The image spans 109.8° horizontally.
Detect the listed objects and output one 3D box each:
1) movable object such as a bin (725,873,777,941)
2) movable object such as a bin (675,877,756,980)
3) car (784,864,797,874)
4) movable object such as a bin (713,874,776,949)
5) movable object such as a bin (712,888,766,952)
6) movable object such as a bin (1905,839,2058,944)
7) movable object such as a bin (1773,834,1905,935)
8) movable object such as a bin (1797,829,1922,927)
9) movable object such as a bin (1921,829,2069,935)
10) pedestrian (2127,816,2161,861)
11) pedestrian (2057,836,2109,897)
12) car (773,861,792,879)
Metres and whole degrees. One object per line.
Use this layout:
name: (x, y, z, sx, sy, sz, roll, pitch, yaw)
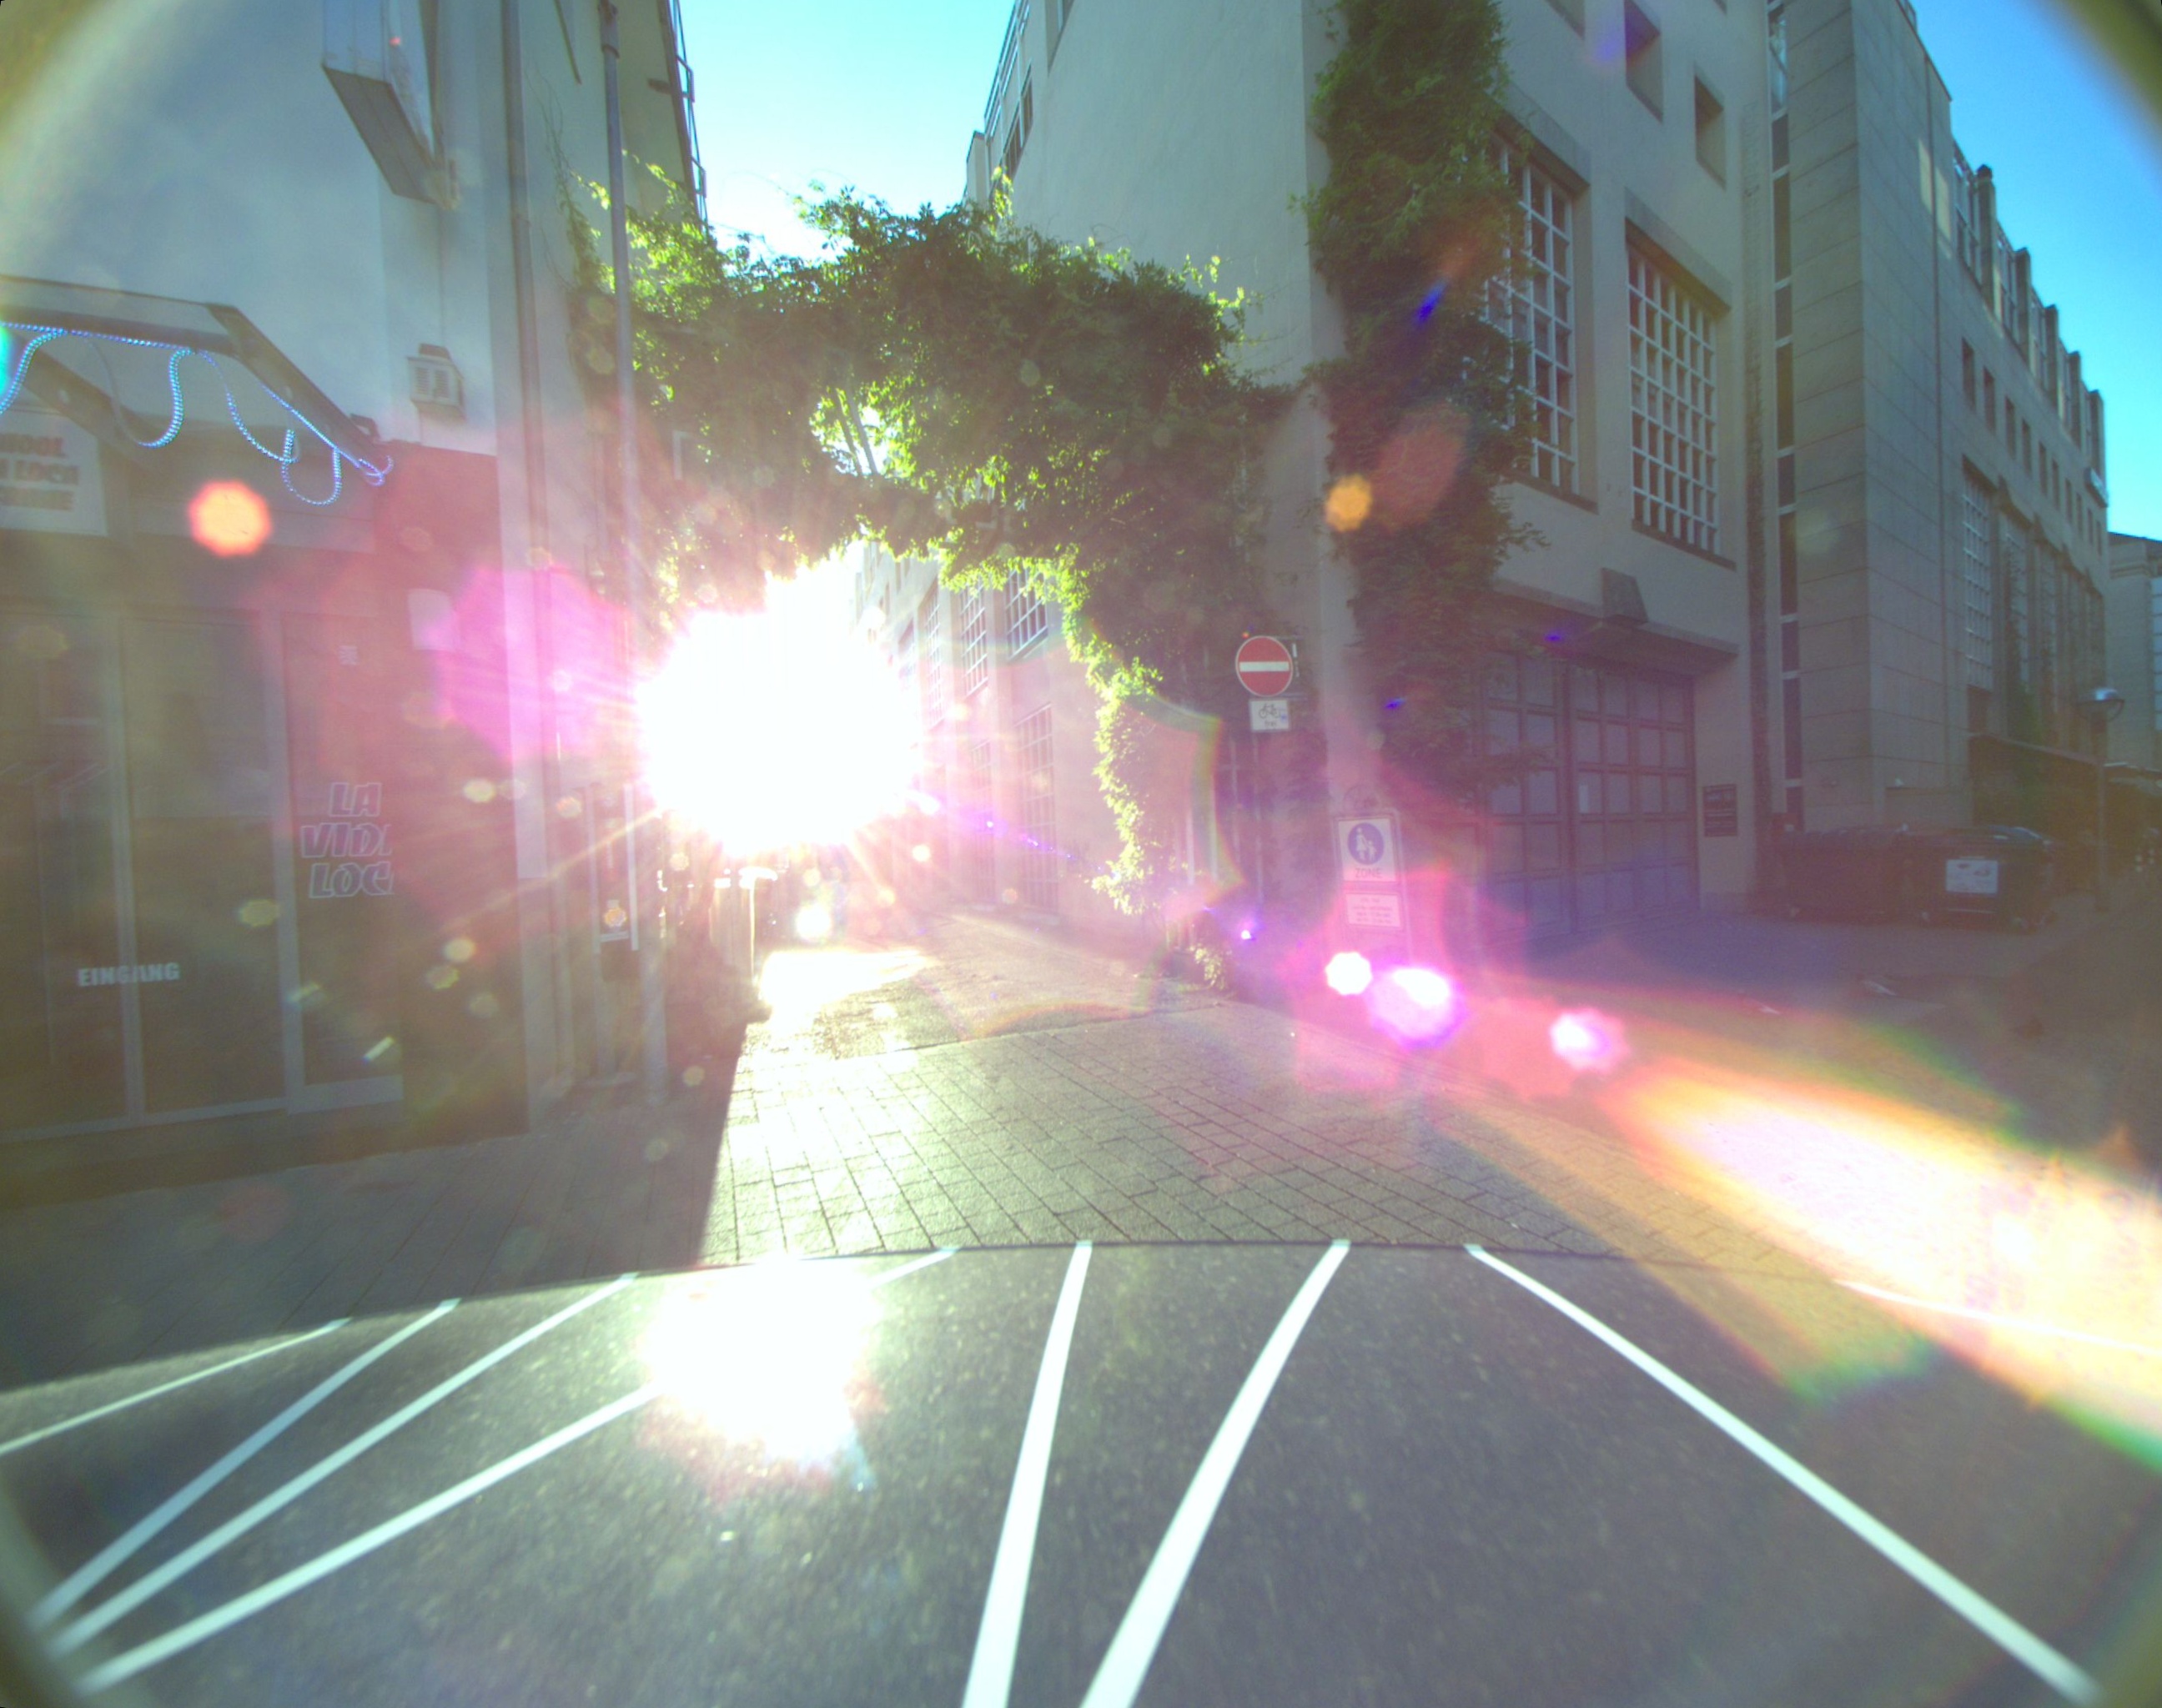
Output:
movable object such as a bin: (-7.094, 1.105, 16.301, 0.941, 1.358, 1.339, -1, 0, -27)
movable object such as a bin: (-5.058, 0.986, 10.605, 0.839, 1.297, 1.288, -1, 0, -18)
car: (-55.596, 2.831, 145.379, 2.002, 1.805, 3.993, -5, 1, -23)
movable object such as a bin: (-6.613, 1.098, 14.983, 1.069, 1.358, 1.339, -1, 0, -23)
movable object such as a bin: (-6.206, 1.179, 13.826, 0.873, 1.068, 0.737, -1, 0, -23)
movable object such as a bin: (12.752, 0.478, 10.778, 1.170, 1.322, 1.229, -3, 4, -34)
movable object such as a bin: (11.703, 0.426, 11.749, 1.170, 1.429, 1.229, -3, 2, -34)
movable object such as a bin: (12.738, 0.354, 12.450, 1.170, 1.479, 1.229, -3, 2, -34)
movable object such as a bin: (13.810, 0.363, 11.496, 1.170, 1.459, 1.273, -3, 4, -34)
pedestrian: (33.598, -0.480, 24.015, 0.633, 1.400, 0.588, -3, 1, -33)
pedestrian: (20.349, 0.245, 15.433, 0.633, 1.194, 0.588, -3, 1, -33)
car: (-32.563, 1.715, 82.999, 1.767, 1.756, 4.742, -5, 1, -21)
